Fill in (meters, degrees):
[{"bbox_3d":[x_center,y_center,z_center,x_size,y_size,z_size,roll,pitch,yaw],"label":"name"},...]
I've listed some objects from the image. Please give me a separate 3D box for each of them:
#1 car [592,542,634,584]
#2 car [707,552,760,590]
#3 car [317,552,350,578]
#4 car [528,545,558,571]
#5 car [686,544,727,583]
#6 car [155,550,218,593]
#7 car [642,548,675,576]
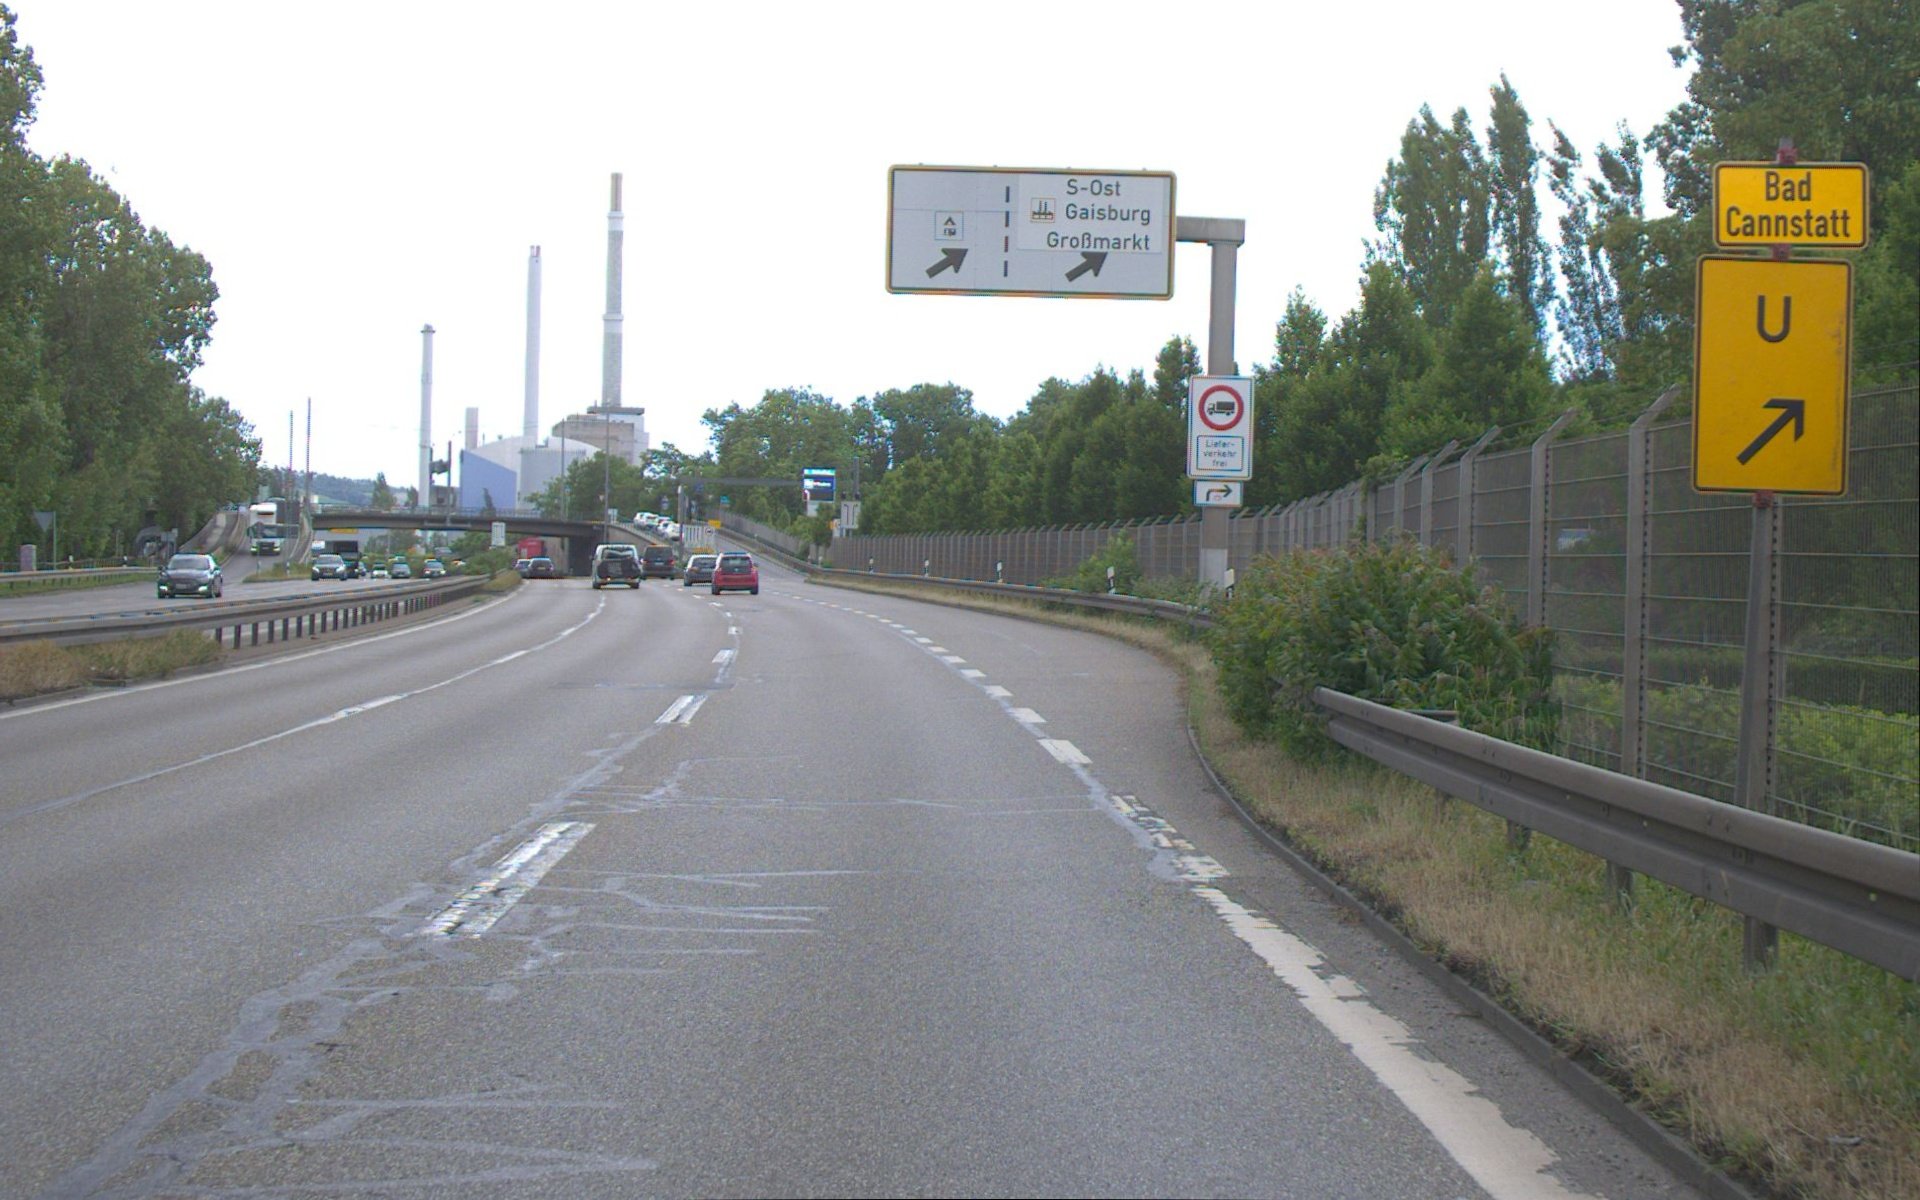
[{"bbox_3d":[-14.715,-1.575,145.987,1.697,1.736,4.001,0,1,-5],"label":"car"},{"bbox_3d":[-8.565,-1.109,130.111,1.974,1.418,4.901,0,1,-4],"label":"car"},{"bbox_3d":[-34.965,-1.957,191.850,1.697,1.408,4.639,0,1,-9],"label":"car"},{"bbox_3d":[-28.154,-2.849,232.275,1.697,1.736,4.394,0,1,-11],"label":"car"},{"bbox_3d":[-11.650,-1.694,157.703,1.697,1.736,4.394,0,1,-7],"label":"car"},{"bbox_3d":[-26.658,-0.999,118.573,1.697,1.408,4.639,0,1,-8],"label":"car"},{"bbox_3d":[-17.360,-2.206,198.000,1.697,1.550,4.399,0,1,-8],"label":"car"}]
